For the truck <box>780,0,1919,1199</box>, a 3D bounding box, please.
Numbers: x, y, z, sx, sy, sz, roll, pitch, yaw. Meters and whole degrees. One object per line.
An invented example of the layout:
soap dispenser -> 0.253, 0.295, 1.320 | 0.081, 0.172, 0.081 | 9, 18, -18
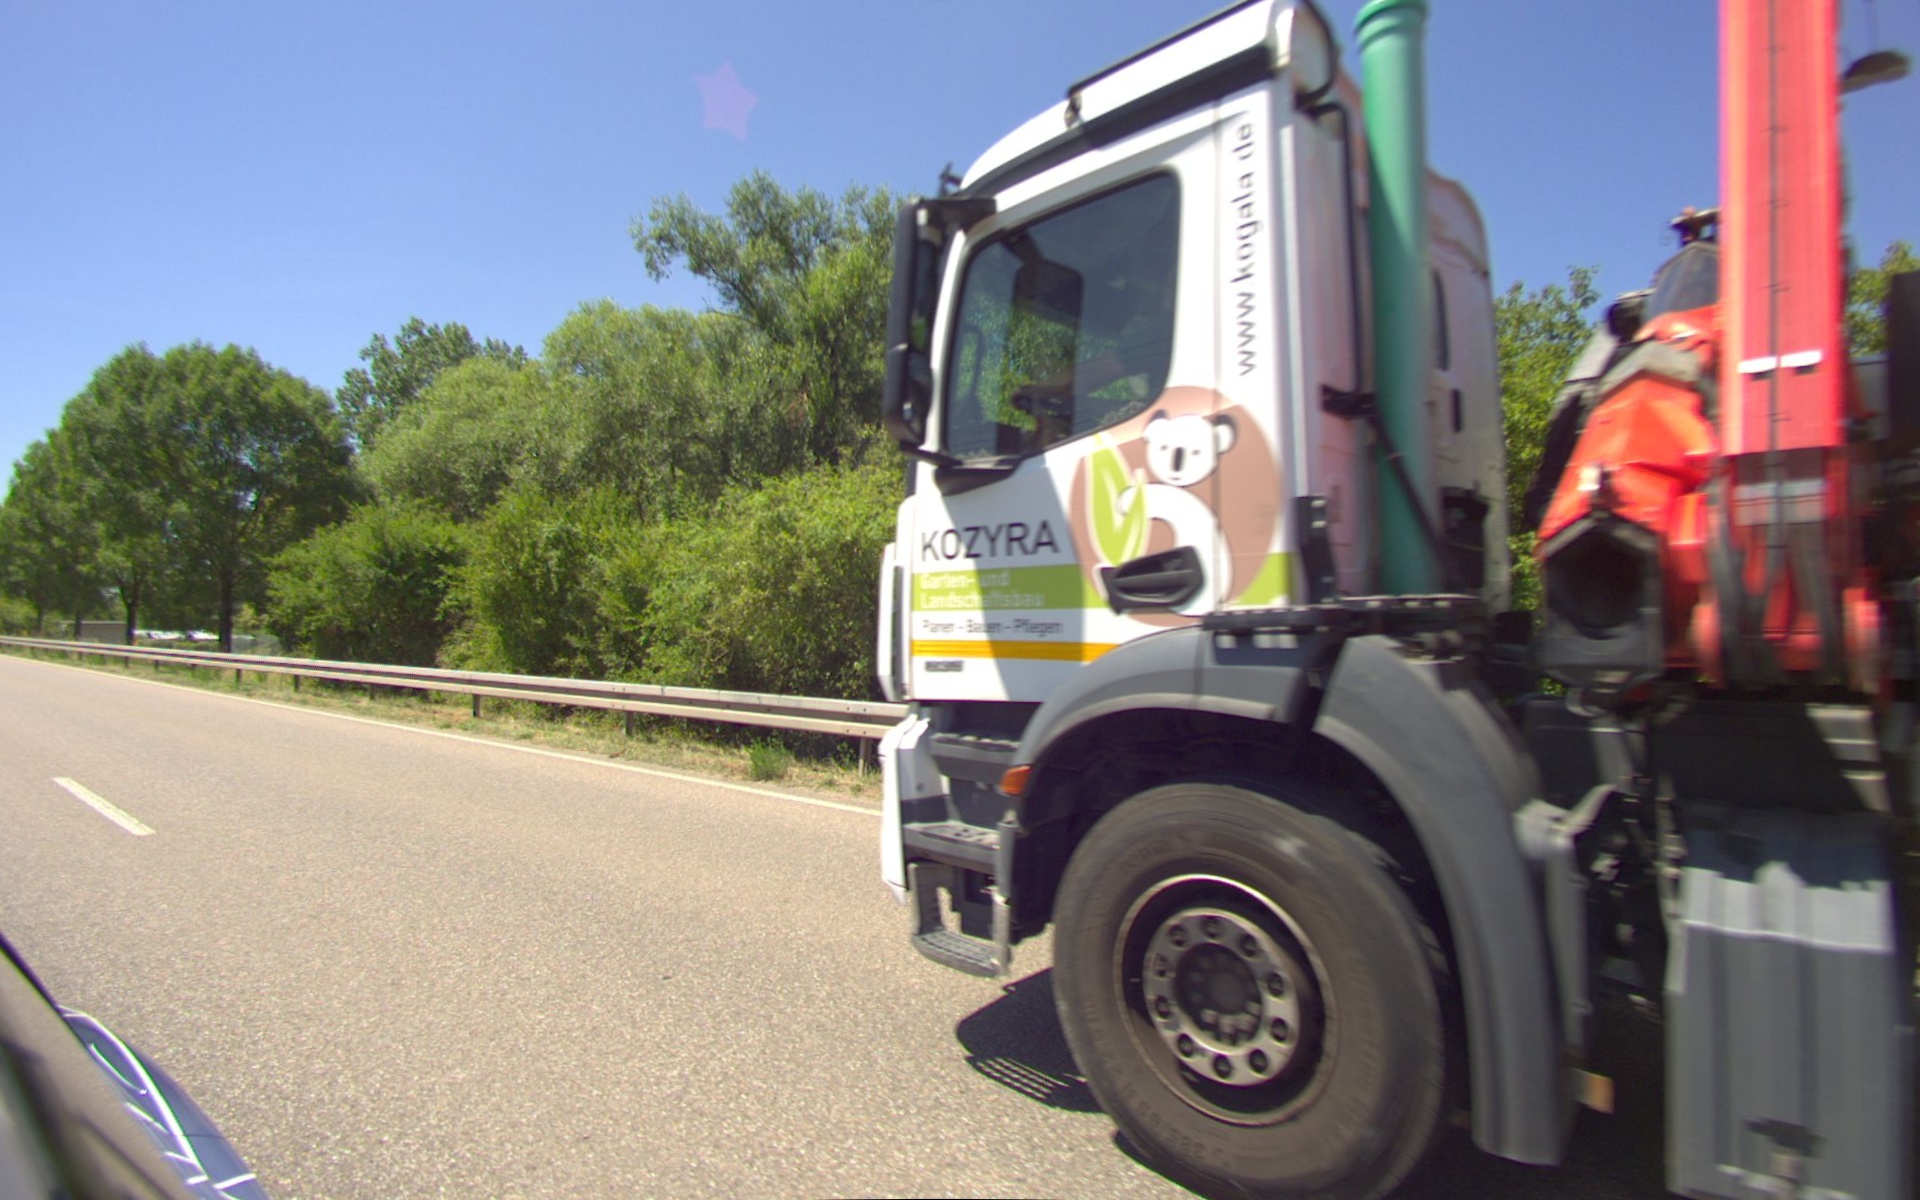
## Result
truck -> 3.328, -0.417, 1.807 | 7.984, 3.431, 2.755 | -2, -1, 41
